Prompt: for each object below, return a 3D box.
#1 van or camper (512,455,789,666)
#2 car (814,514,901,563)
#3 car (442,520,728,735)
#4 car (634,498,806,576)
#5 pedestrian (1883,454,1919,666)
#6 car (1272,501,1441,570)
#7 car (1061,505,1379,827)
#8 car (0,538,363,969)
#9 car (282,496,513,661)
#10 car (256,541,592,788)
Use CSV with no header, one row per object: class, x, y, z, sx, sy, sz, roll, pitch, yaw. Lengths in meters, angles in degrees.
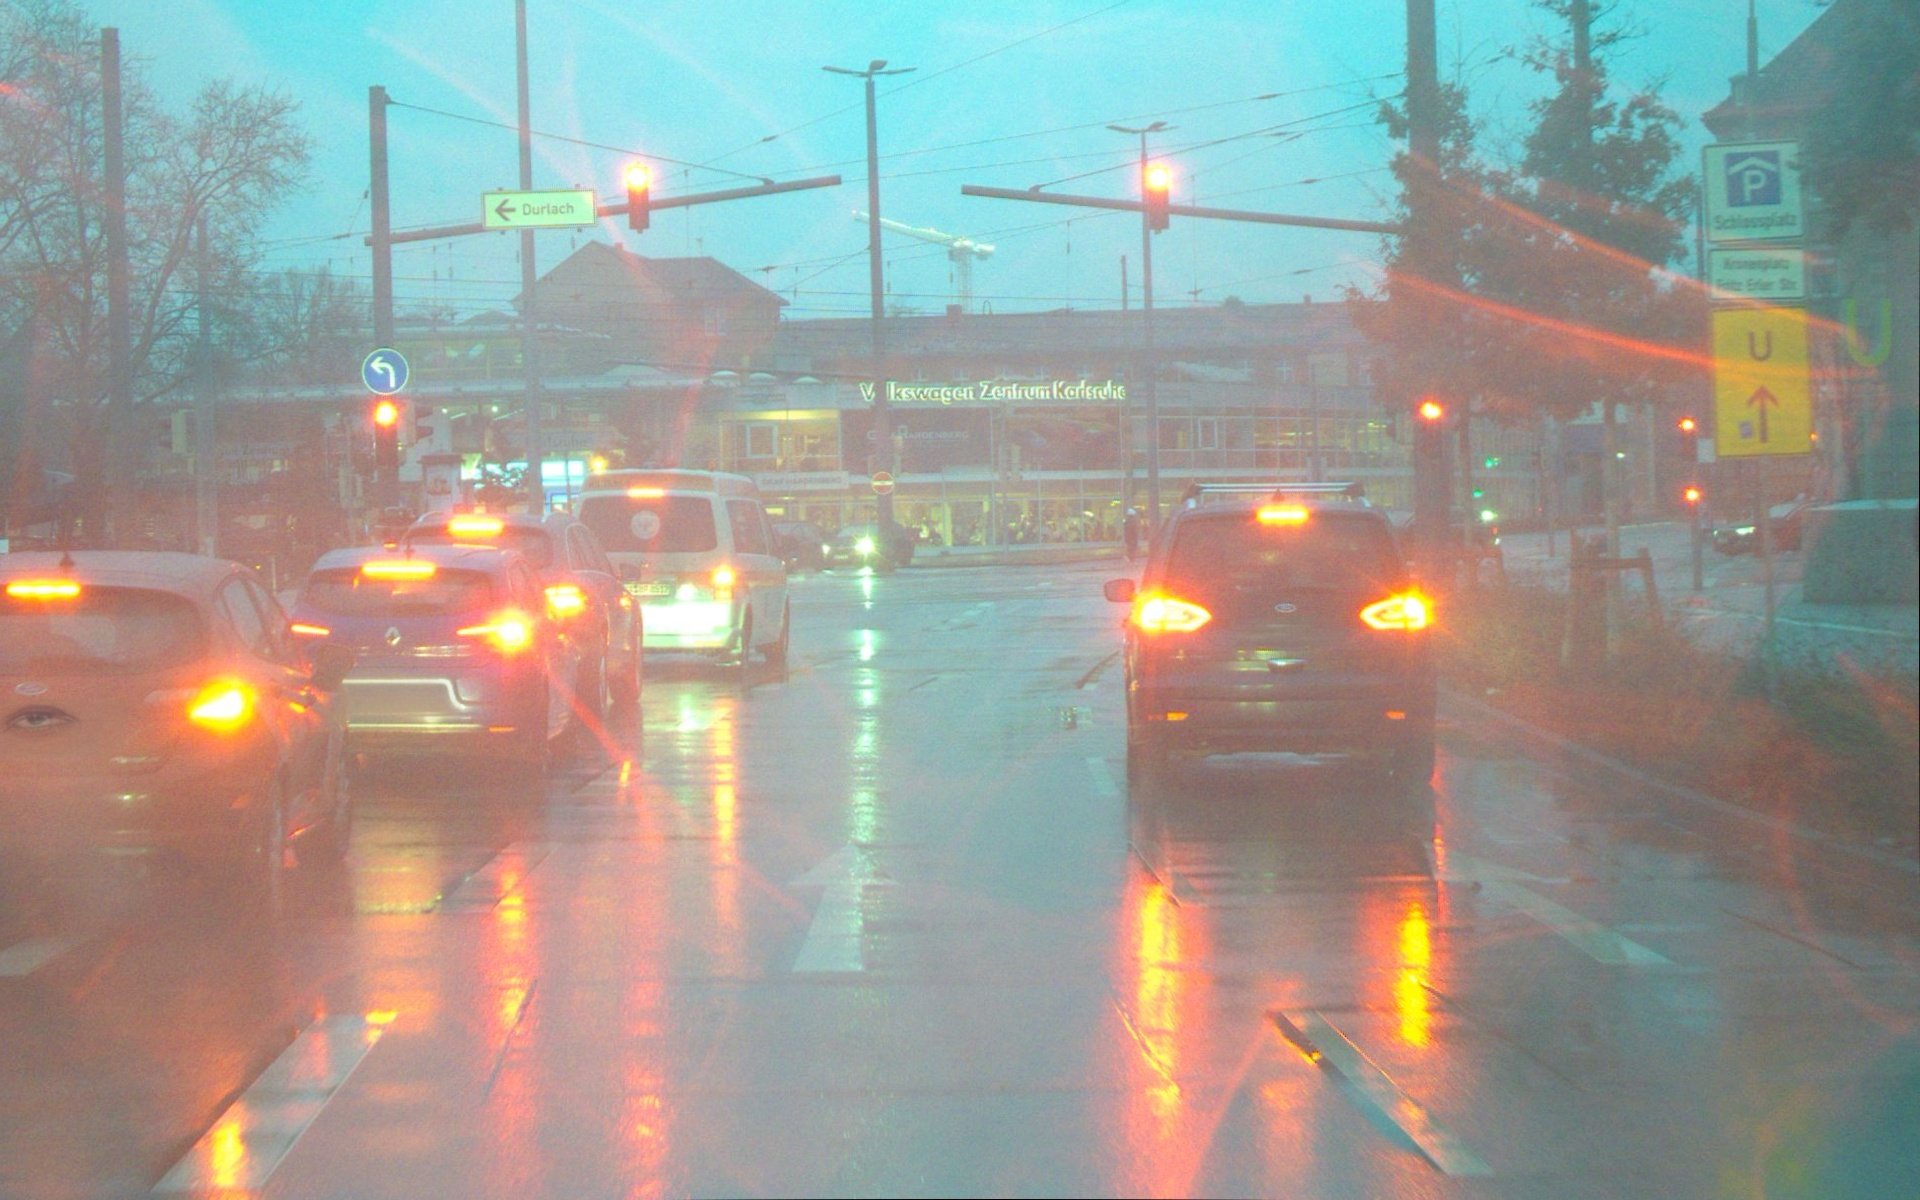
van or camper,-3.222,-0.446,36.833,2.202,2.102,4.987,0,1,4
car,-3.193,-1.943,107.949,1.814,1.441,3.998,-1,1,12
car,-3.003,0.161,28.367,1.785,1.595,4.541,1,1,1
car,-5.890,-1.538,84.112,3.986,1.766,2.001,-2,1,-9
pedestrian,9.015,-0.379,31.738,0.808,1.923,0.759,1,4,27
car,9.509,-1.557,82.352,1.998,1.509,3.990,0,2,43
car,1.637,0.314,21.554,1.778,1.794,4.424,0,2,5
car,-3.578,0.524,14.343,1.700,1.476,3.873,2,2,-4
car,-6.357,-0.280,39.265,1.885,1.766,4.000,-1,1,1
car,-3.332,0.339,22.007,1.659,1.399,4.121,1,1,-2
